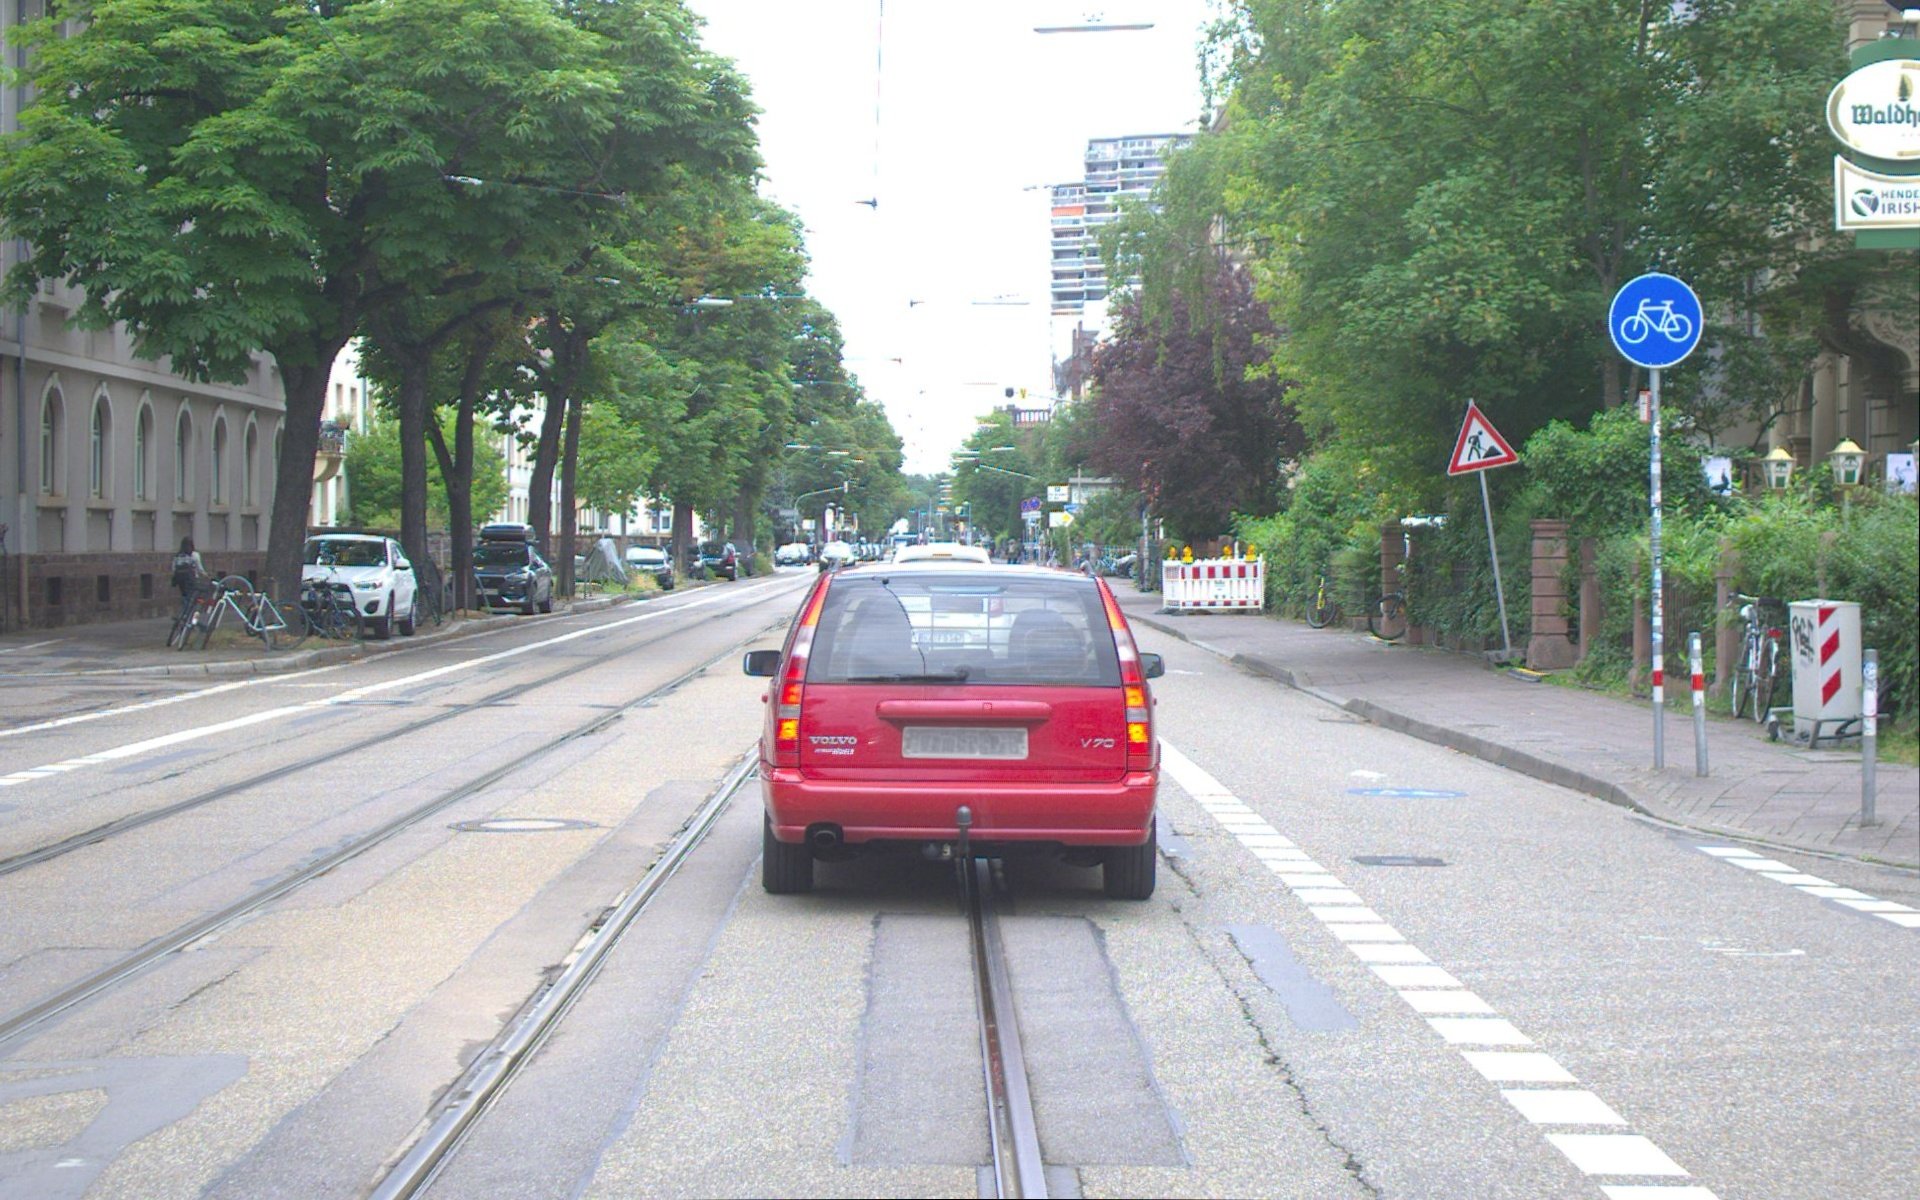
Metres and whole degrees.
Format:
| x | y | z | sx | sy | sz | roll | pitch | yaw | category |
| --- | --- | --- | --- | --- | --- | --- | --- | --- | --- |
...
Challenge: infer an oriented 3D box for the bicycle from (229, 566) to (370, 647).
| x | y | z | sx | sy | sz | roll | pitch | yaw | category |
| --- | --- | --- | --- | --- | --- | --- | --- | --- | --- |
| -9.710 | 0.096 | 50.591 | 1.922 | 1.117 | 0.624 | 2 | 1 | 0 | bicycle |

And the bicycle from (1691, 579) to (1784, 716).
| x | y | z | sx | sy | sz | roll | pitch | yaw | category |
| --- | --- | --- | --- | --- | --- | --- | --- | --- | --- |
| 6.246 | 0.363 | 27.673 | 0.301 | 1.038 | 1.849 | 0 | 1 | -1 | bicycle |

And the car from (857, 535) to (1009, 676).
| x | y | z | sx | sy | sz | roll | pitch | yaw | category |
| --- | --- | --- | --- | --- | --- | --- | --- | --- | --- |
| -0.287 | 0.034 | 41.979 | 1.719 | 1.619 | 3.941 | 1 | 1 | 2 | car |

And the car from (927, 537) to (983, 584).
| x | y | z | sx | sy | sz | roll | pitch | yaw | category |
| --- | --- | --- | --- | --- | --- | --- | --- | --- | --- |
| -0.195 | -1.376 | 118.740 | 1.741 | 1.600 | 4.001 | 0 | 1 | -2 | car |

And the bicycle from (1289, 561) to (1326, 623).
| x | y | z | sx | sy | sz | roll | pitch | yaw | category |
| --- | --- | --- | --- | --- | --- | --- | --- | --- | --- |
| 5.910 | -0.139 | 58.496 | 0.479 | 1.041 | 1.531 | 0 | 1 | 0 | bicycle |

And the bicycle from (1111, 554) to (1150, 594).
| x | y | z | sx | sy | sz | roll | pitch | yaw | category |
| --- | --- | --- | --- | --- | --- | --- | --- | --- | --- |
| 6.449 | -0.984 | 130.003 | 0.918 | 1.502 | 2.379 | 1 | 1 | 17 | bicycle |

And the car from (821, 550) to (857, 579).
| x | y | z | sx | sy | sz | roll | pitch | yaw | category |
| --- | --- | --- | --- | --- | --- | --- | --- | --- | --- |
| -5.987 | -1.775 | 170.210 | 1.755 | 1.375 | 4.027 | 0 | 1 | -1 | car |

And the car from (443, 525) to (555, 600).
| x | y | z | sx | sy | sz | roll | pitch | yaw | category |
| --- | --- | --- | --- | --- | --- | --- | --- | --- | --- |
| -9.795 | -0.816 | 73.320 | 1.777 | 1.505 | 4.238 | 1 | 1 | 0 | car |

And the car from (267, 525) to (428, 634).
| x | y | z | sx | sy | sz | roll | pitch | yaw | category |
| --- | --- | --- | --- | --- | --- | --- | --- | --- | --- |
| -9.675 | -0.349 | 54.575 | 1.897 | 1.650 | 4.226 | 1 | 1 | -1 | car |

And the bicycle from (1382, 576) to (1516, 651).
| x | y | z | sx | sy | sz | roll | pitch | yaw | category |
| --- | --- | --- | --- | --- | --- | --- | --- | --- | --- |
| 7.088 | 0.192 | 49.885 | 1.841 | 1.072 | 0.606 | 0 | 1 | -1 | bicycle |

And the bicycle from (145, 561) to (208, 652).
| x | y | z | sx | sy | sz | roll | pitch | yaw | category |
| --- | --- | --- | --- | --- | --- | --- | --- | --- | --- |
| -10.442 | 0.070 | 45.777 | 0.674 | 1.132 | 1.937 | -1 | 2 | -17 | bicycle |

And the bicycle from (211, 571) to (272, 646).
| x | y | z | sx | sy | sz | roll | pitch | yaw | category |
| --- | --- | --- | --- | --- | --- | --- | --- | --- | --- |
| -9.448 | 0.109 | 45.229 | 0.483 | 0.955 | 1.398 | 0 | 1 | 2 | bicycle |

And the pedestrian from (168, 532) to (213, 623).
| x | y | z | sx | sy | sz | roll | pitch | yaw | category |
| --- | --- | --- | --- | --- | --- | --- | --- | --- | --- |
| -12.519 | -0.367 | 55.921 | 0.564 | 1.462 | 0.723 | 0 | 1 | 0 | pedestrian |

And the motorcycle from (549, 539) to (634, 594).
| x | y | z | sx | sy | sz | roll | pitch | yaw | category |
| --- | --- | --- | --- | --- | --- | --- | --- | --- | --- |
| -10.228 | -0.924 | 95.456 | 2.269 | 1.506 | 0.925 | 1 | -1 | 35 | motorcycle |

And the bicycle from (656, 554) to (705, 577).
| x | y | z | sx | sy | sz | roll | pitch | yaw | category |
| --- | --- | --- | --- | --- | --- | --- | --- | --- | --- |
| -10.223 | -1.261 | 125.812 | 1.749 | 0.841 | 0.684 | 1 | 1 | 1 | bicycle |

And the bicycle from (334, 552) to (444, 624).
| x | y | z | sx | sy | sz | roll | pitch | yaw | category |
| --- | --- | --- | --- | --- | --- | --- | --- | --- | --- |
| -9.942 | -0.213 | 59.854 | 1.744 | 1.188 | 0.652 | 2 | 1 | 14 | bicycle |

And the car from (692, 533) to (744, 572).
| x | y | z | sx | sy | sz | roll | pitch | yaw | category |
| --- | --- | --- | --- | --- | --- | --- | --- | --- | --- |
| -9.867 | -1.946 | 140.397 | 1.851 | 1.558 | 3.943 | 1 | 1 | 0 | car |

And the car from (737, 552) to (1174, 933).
| x | y | z | sx | sy | sz | roll | pitch | yaw | category |
| --- | --- | --- | --- | --- | --- | --- | --- | --- | --- |
| -0.035 | 0.537 | 15.406 | 1.689 | 1.436 | 3.743 | 1 | 1 | -1 | car |
